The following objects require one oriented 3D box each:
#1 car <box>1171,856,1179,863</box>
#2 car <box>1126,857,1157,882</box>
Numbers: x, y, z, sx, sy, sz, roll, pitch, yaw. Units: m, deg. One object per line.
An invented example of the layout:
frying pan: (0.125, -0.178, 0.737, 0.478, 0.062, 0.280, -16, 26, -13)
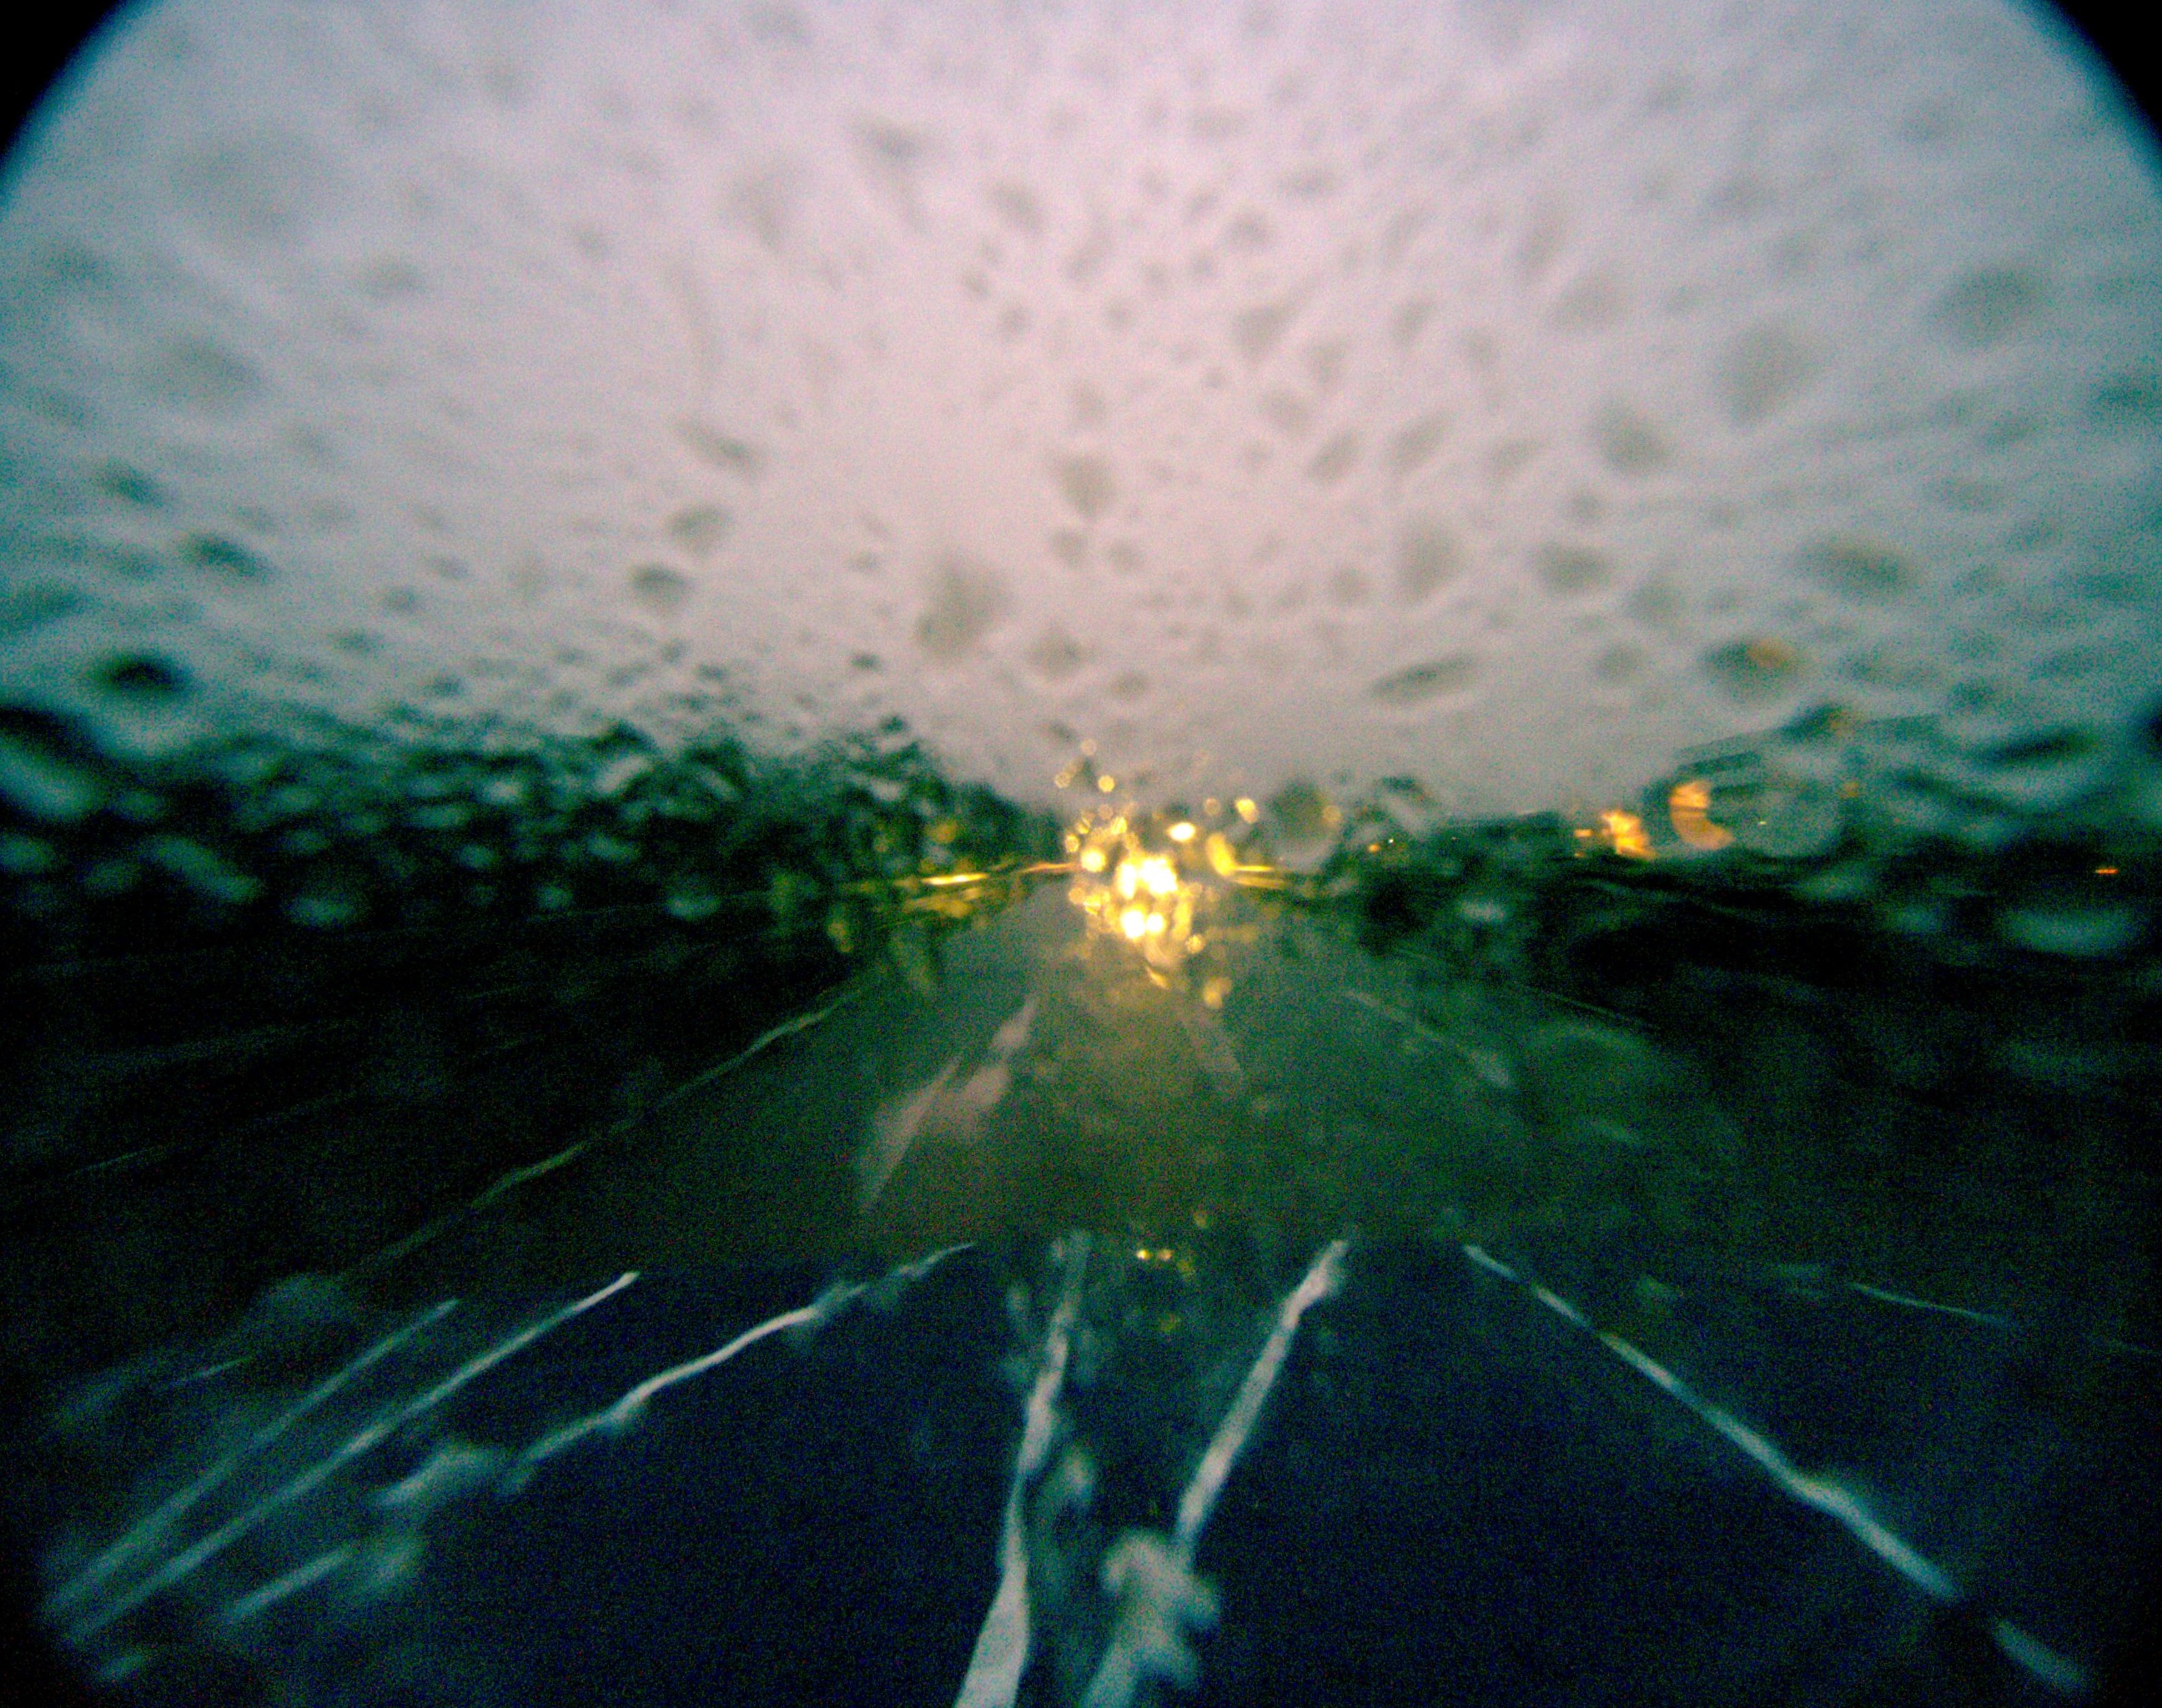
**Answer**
car: (25.067, 1.440, 203.604, 1.997, 1.838, 3.674, -2, 0, 6)
car: (4.113, 1.015, 52.138, 1.886, 1.514, 4.000, -3, 0, 1)
